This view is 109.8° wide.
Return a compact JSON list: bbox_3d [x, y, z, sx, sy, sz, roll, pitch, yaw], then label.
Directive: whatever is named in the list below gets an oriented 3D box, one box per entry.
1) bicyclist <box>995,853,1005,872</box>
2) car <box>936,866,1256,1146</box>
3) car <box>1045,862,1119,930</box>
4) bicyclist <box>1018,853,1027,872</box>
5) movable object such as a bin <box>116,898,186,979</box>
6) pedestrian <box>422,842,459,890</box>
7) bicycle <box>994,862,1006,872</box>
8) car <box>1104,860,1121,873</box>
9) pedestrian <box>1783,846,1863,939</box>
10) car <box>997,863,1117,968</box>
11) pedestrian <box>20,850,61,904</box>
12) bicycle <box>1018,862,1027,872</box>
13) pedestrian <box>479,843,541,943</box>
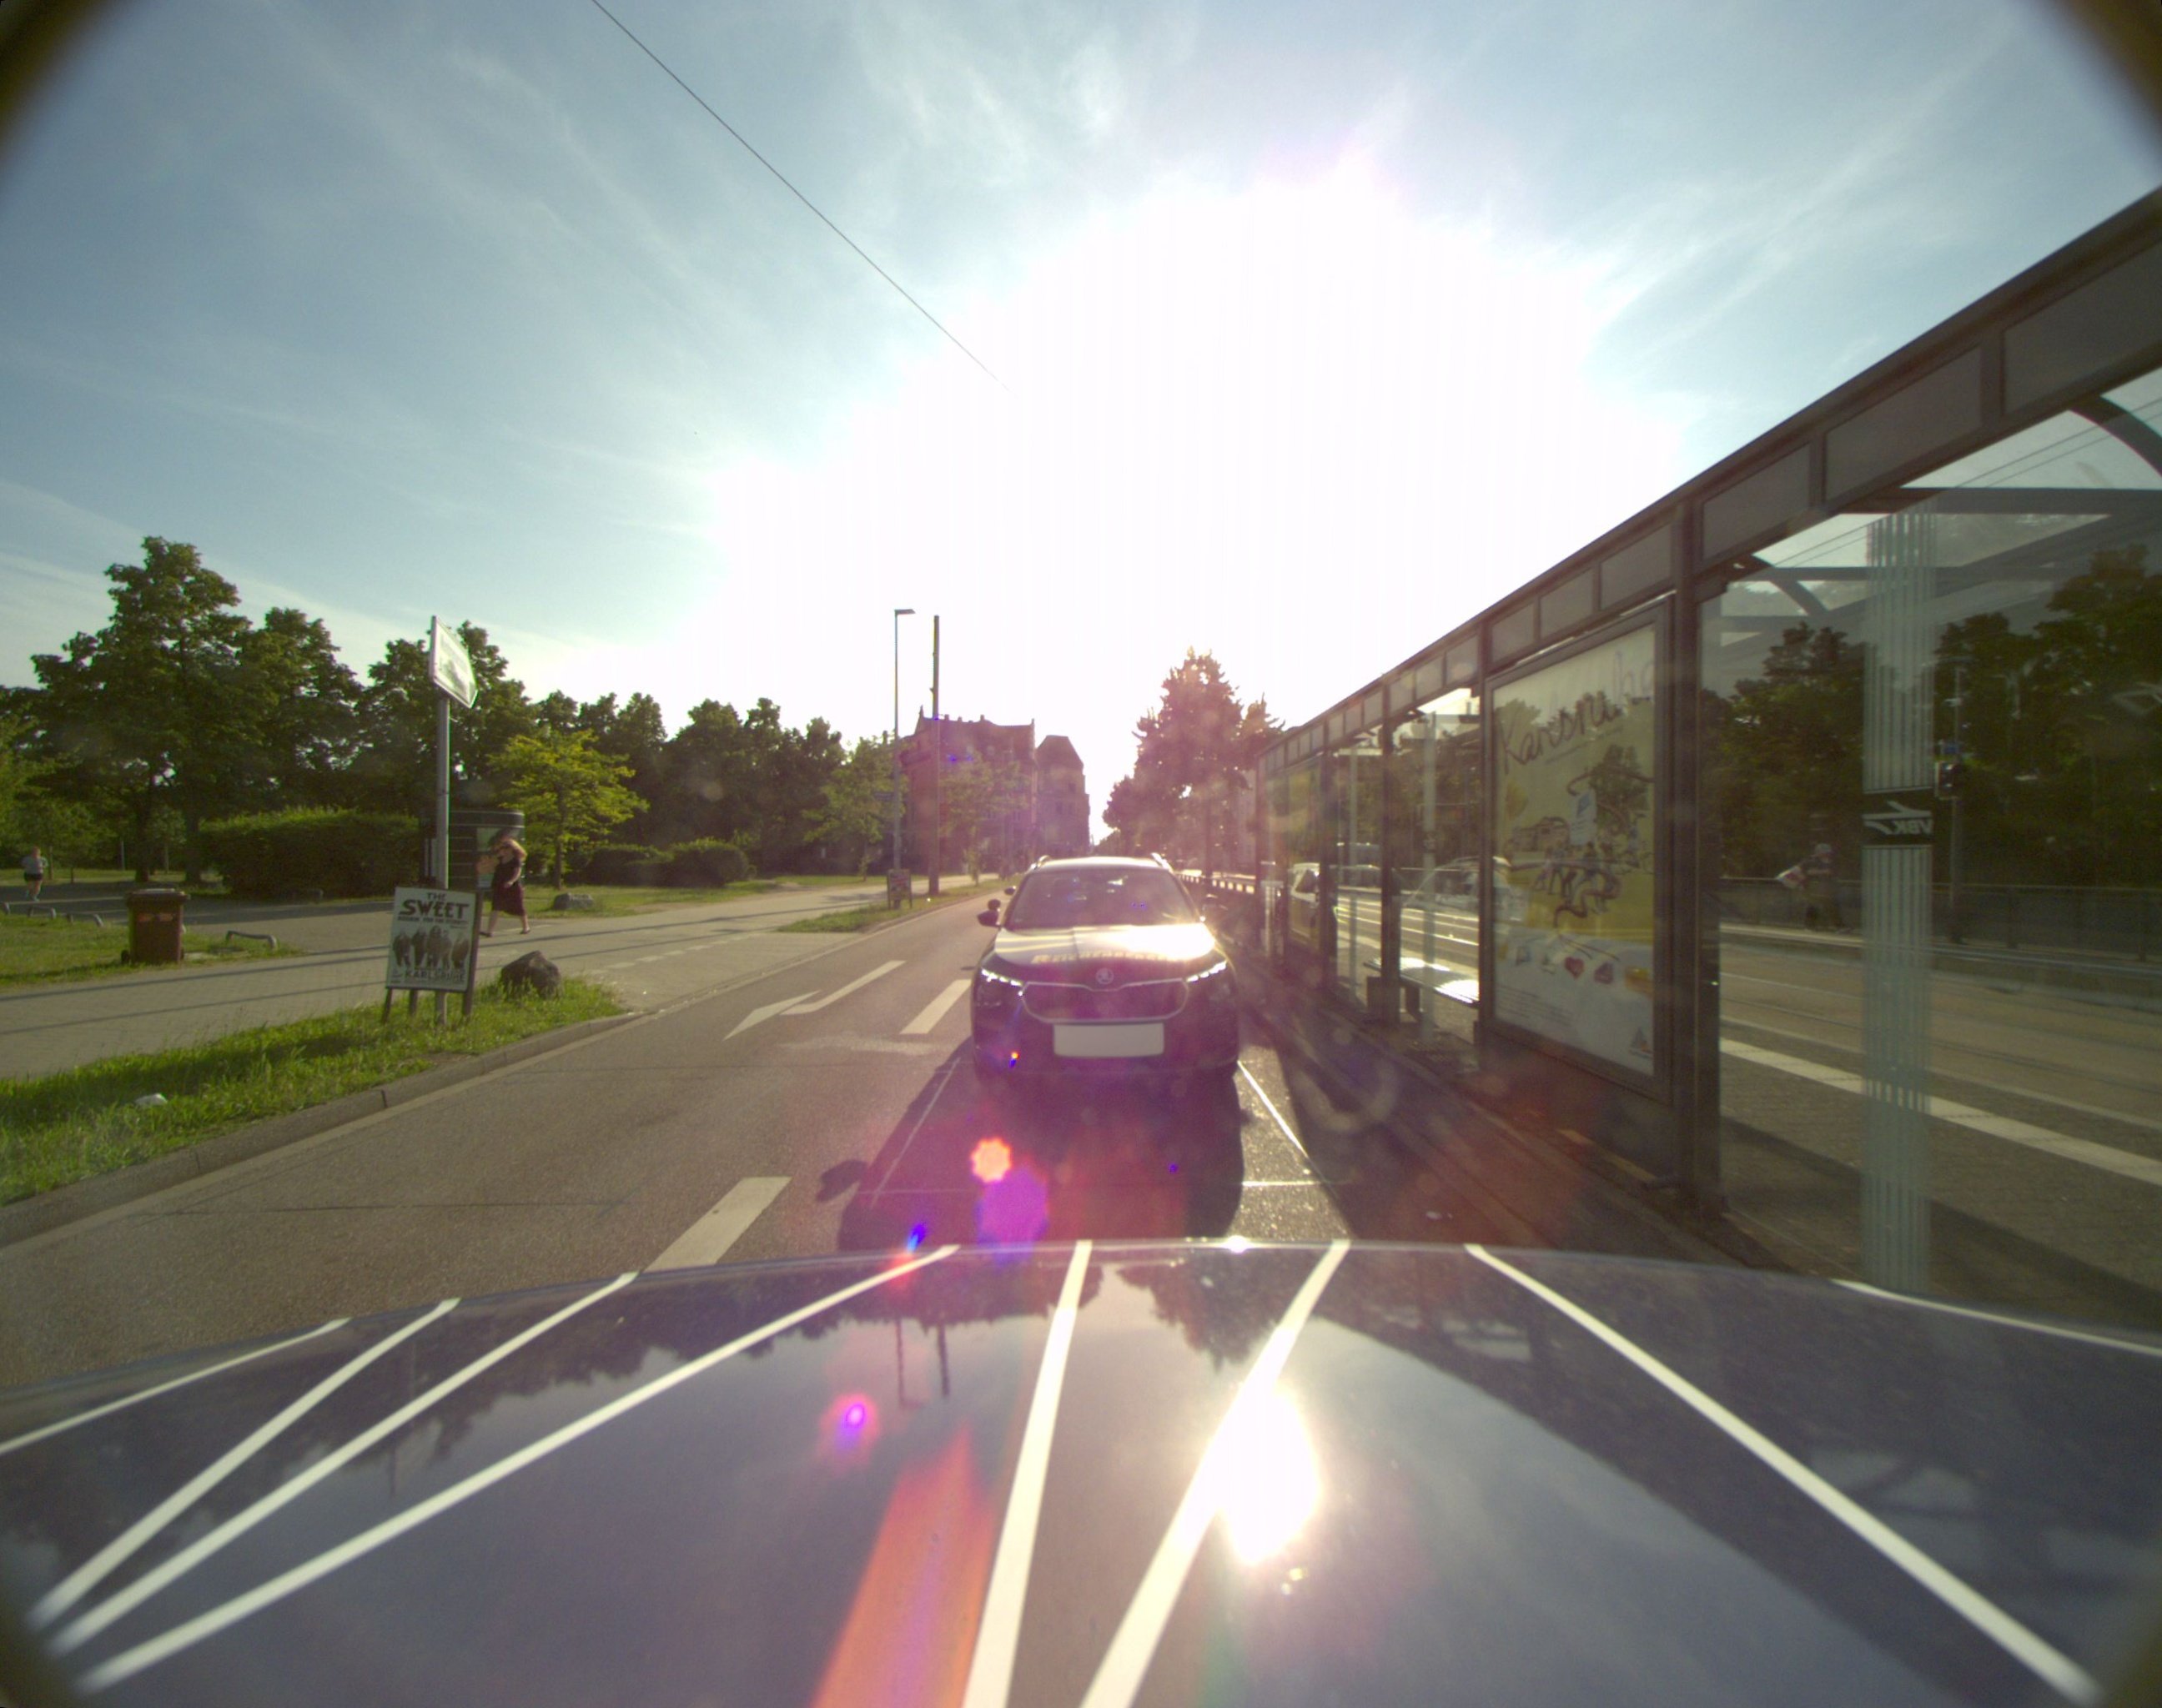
[{"bbox_3d":[-7.476,0.765,70.165,0.753,1.763,1.119,0,0,3],"label":"bicyclist"},{"bbox_3d":[0.107,0.886,6.250,1.781,1.496,4.000,0,0,1],"label":"car"},{"bbox_3d":[0.048,0.965,19.092,1.672,1.496,3.872,0,0,1],"label":"car"},{"bbox_3d":[-5.516,0.795,71.431,0.730,1.763,1.015,0,0,0],"label":"bicyclist"},{"bbox_3d":[-11.307,1.008,9.247,0.502,0.898,0.526,1,1,39],"label":"movable object such as a bin"},{"bbox_3d":[-28.742,0.524,34.127,0.910,2.145,0.891,0,0,13],"label":"pedestrian"},{"bbox_3d":[-7.490,1.191,70.159,0.740,0.912,2.095,0,0,4],"label":"bicycle"},{"bbox_3d":[4.204,1.697,101.147,1.999,1.674,3.999,0,0,-1],"label":"car"},{"bbox_3d":[13.360,0.677,13.698,0.736,1.618,0.689,0,0,1],"label":"pedestrian"},{"bbox_3d":[-0.330,0.933,13.248,1.781,1.496,4.000,0,0,1],"label":"car"},{"bbox_3d":[-31.878,0.686,23.273,0.660,1.641,0.623,0,1,26],"label":"pedestrian"},{"bbox_3d":[-5.533,1.243,71.622,0.740,0.912,2.094,0,0,0],"label":"bicycle"},{"bbox_3d":[-9.879,0.654,13.163,0.558,1.691,0.662,0,1,0],"label":"pedestrian"}]
